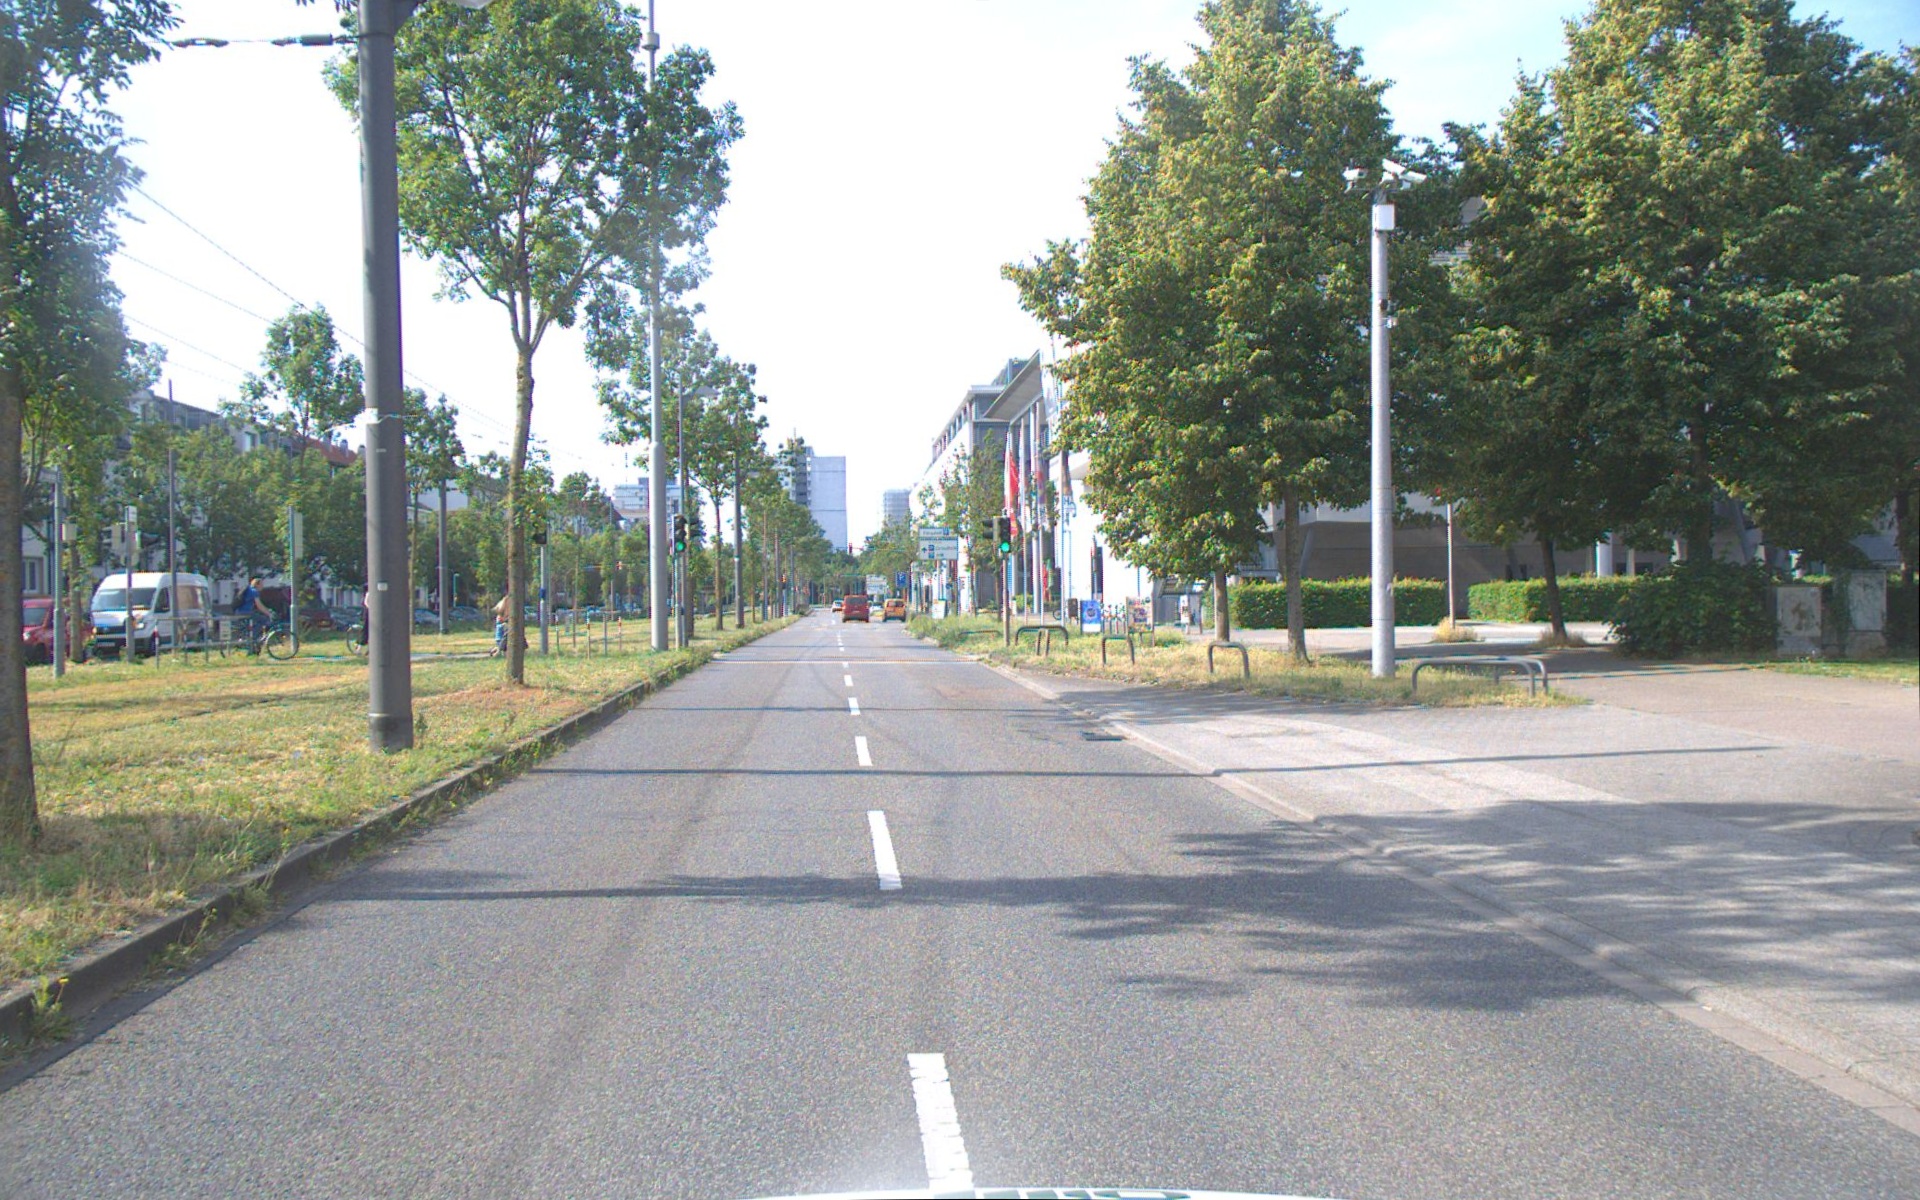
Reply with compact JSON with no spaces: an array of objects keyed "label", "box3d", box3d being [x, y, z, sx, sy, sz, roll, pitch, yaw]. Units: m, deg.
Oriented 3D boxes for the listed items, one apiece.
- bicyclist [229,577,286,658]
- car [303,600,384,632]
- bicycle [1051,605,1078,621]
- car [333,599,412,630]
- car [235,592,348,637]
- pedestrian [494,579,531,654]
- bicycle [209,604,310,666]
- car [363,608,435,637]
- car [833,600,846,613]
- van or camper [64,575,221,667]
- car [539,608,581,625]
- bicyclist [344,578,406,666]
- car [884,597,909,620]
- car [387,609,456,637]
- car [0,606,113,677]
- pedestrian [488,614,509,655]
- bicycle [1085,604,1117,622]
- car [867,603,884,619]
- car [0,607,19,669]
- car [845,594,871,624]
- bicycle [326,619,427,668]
[{"label":"bicyclist","box3d":[-15.813,0.390,37.253,1.130,1.792,0.682,1,-1,-22]},{"label":"car","box3d":[-31.787,0.840,85.318,3.905,1.557,1.463,1,-1,21]},{"label":"bicycle","box3d":[6.394,0.785,101.234,1.590,0.903,0.550,1,-1,-6]},{"label":"car","box3d":[-31.295,0.752,88.087,3.905,1.557,1.463,1,-1,21]},{"label":"car","box3d":[-32.215,0.699,79.700,5.111,2.049,1.877,1,-1,21]},{"label":"pedestrian","box3d":[-9.748,0.360,36.039,0.612,1.599,0.710,1,-1,-4]},{"label":"bicycle","box3d":[-15.771,0.788,37.275,2.037,1.347,0.779,1,-1,-22]},{"label":"car","box3d":[-32.550,1.306,96.007,3.905,1.557,1.463,1,-1,21]},{"label":"car","box3d":[-16.754,0.912,229.711,1.714,1.679,3.213,1,0,-4]},{"label":"van or camper","box3d":[-24.531,0.611,49.917,2.160,2.575,6.023,1,0,-5]},{"label":"car","box3d":[-40.651,1.684,168.174,3.905,1.624,1.655,1,-1,21]},{"label":"bicyclist","box3d":[-13.340,0.490,37.728,1.124,1.968,0.686,1,-1,-3]},{"label":"car","box3d":[-4.796,0.672,124.799,1.714,1.679,3.213,1,0,-4]},{"label":"car","box3d":[-33.311,1.398,102.339,3.905,1.624,1.655,1,-1,21]},{"label":"car","box3d":[-24.158,1.034,43.151,1.925,1.724,4.296,1,0,-1]},{"label":"pedestrian","box3d":[-10.184,0.766,36.481,0.334,0.890,0.461,1,-1,-3]},{"label":"bicycle","box3d":[7.380,0.697,86.487,1.590,0.903,0.550,1,-1,-6]},{"label":"car","box3d":[-9.161,1.139,178.960,1.714,1.679,3.213,1,0,-4]},{"label":"car","box3d":[-29.901,1.035,48.112,5.210,1.768,1.996,1,-1,29]},{"label":"car","box3d":[-7.169,0.659,116.332,1.714,2.049,3.213,1,-1,-4]},{"label":"bicycle","box3d":[-13.285,0.987,37.704,2.025,1.060,0.667,1,-1,-3]}]
